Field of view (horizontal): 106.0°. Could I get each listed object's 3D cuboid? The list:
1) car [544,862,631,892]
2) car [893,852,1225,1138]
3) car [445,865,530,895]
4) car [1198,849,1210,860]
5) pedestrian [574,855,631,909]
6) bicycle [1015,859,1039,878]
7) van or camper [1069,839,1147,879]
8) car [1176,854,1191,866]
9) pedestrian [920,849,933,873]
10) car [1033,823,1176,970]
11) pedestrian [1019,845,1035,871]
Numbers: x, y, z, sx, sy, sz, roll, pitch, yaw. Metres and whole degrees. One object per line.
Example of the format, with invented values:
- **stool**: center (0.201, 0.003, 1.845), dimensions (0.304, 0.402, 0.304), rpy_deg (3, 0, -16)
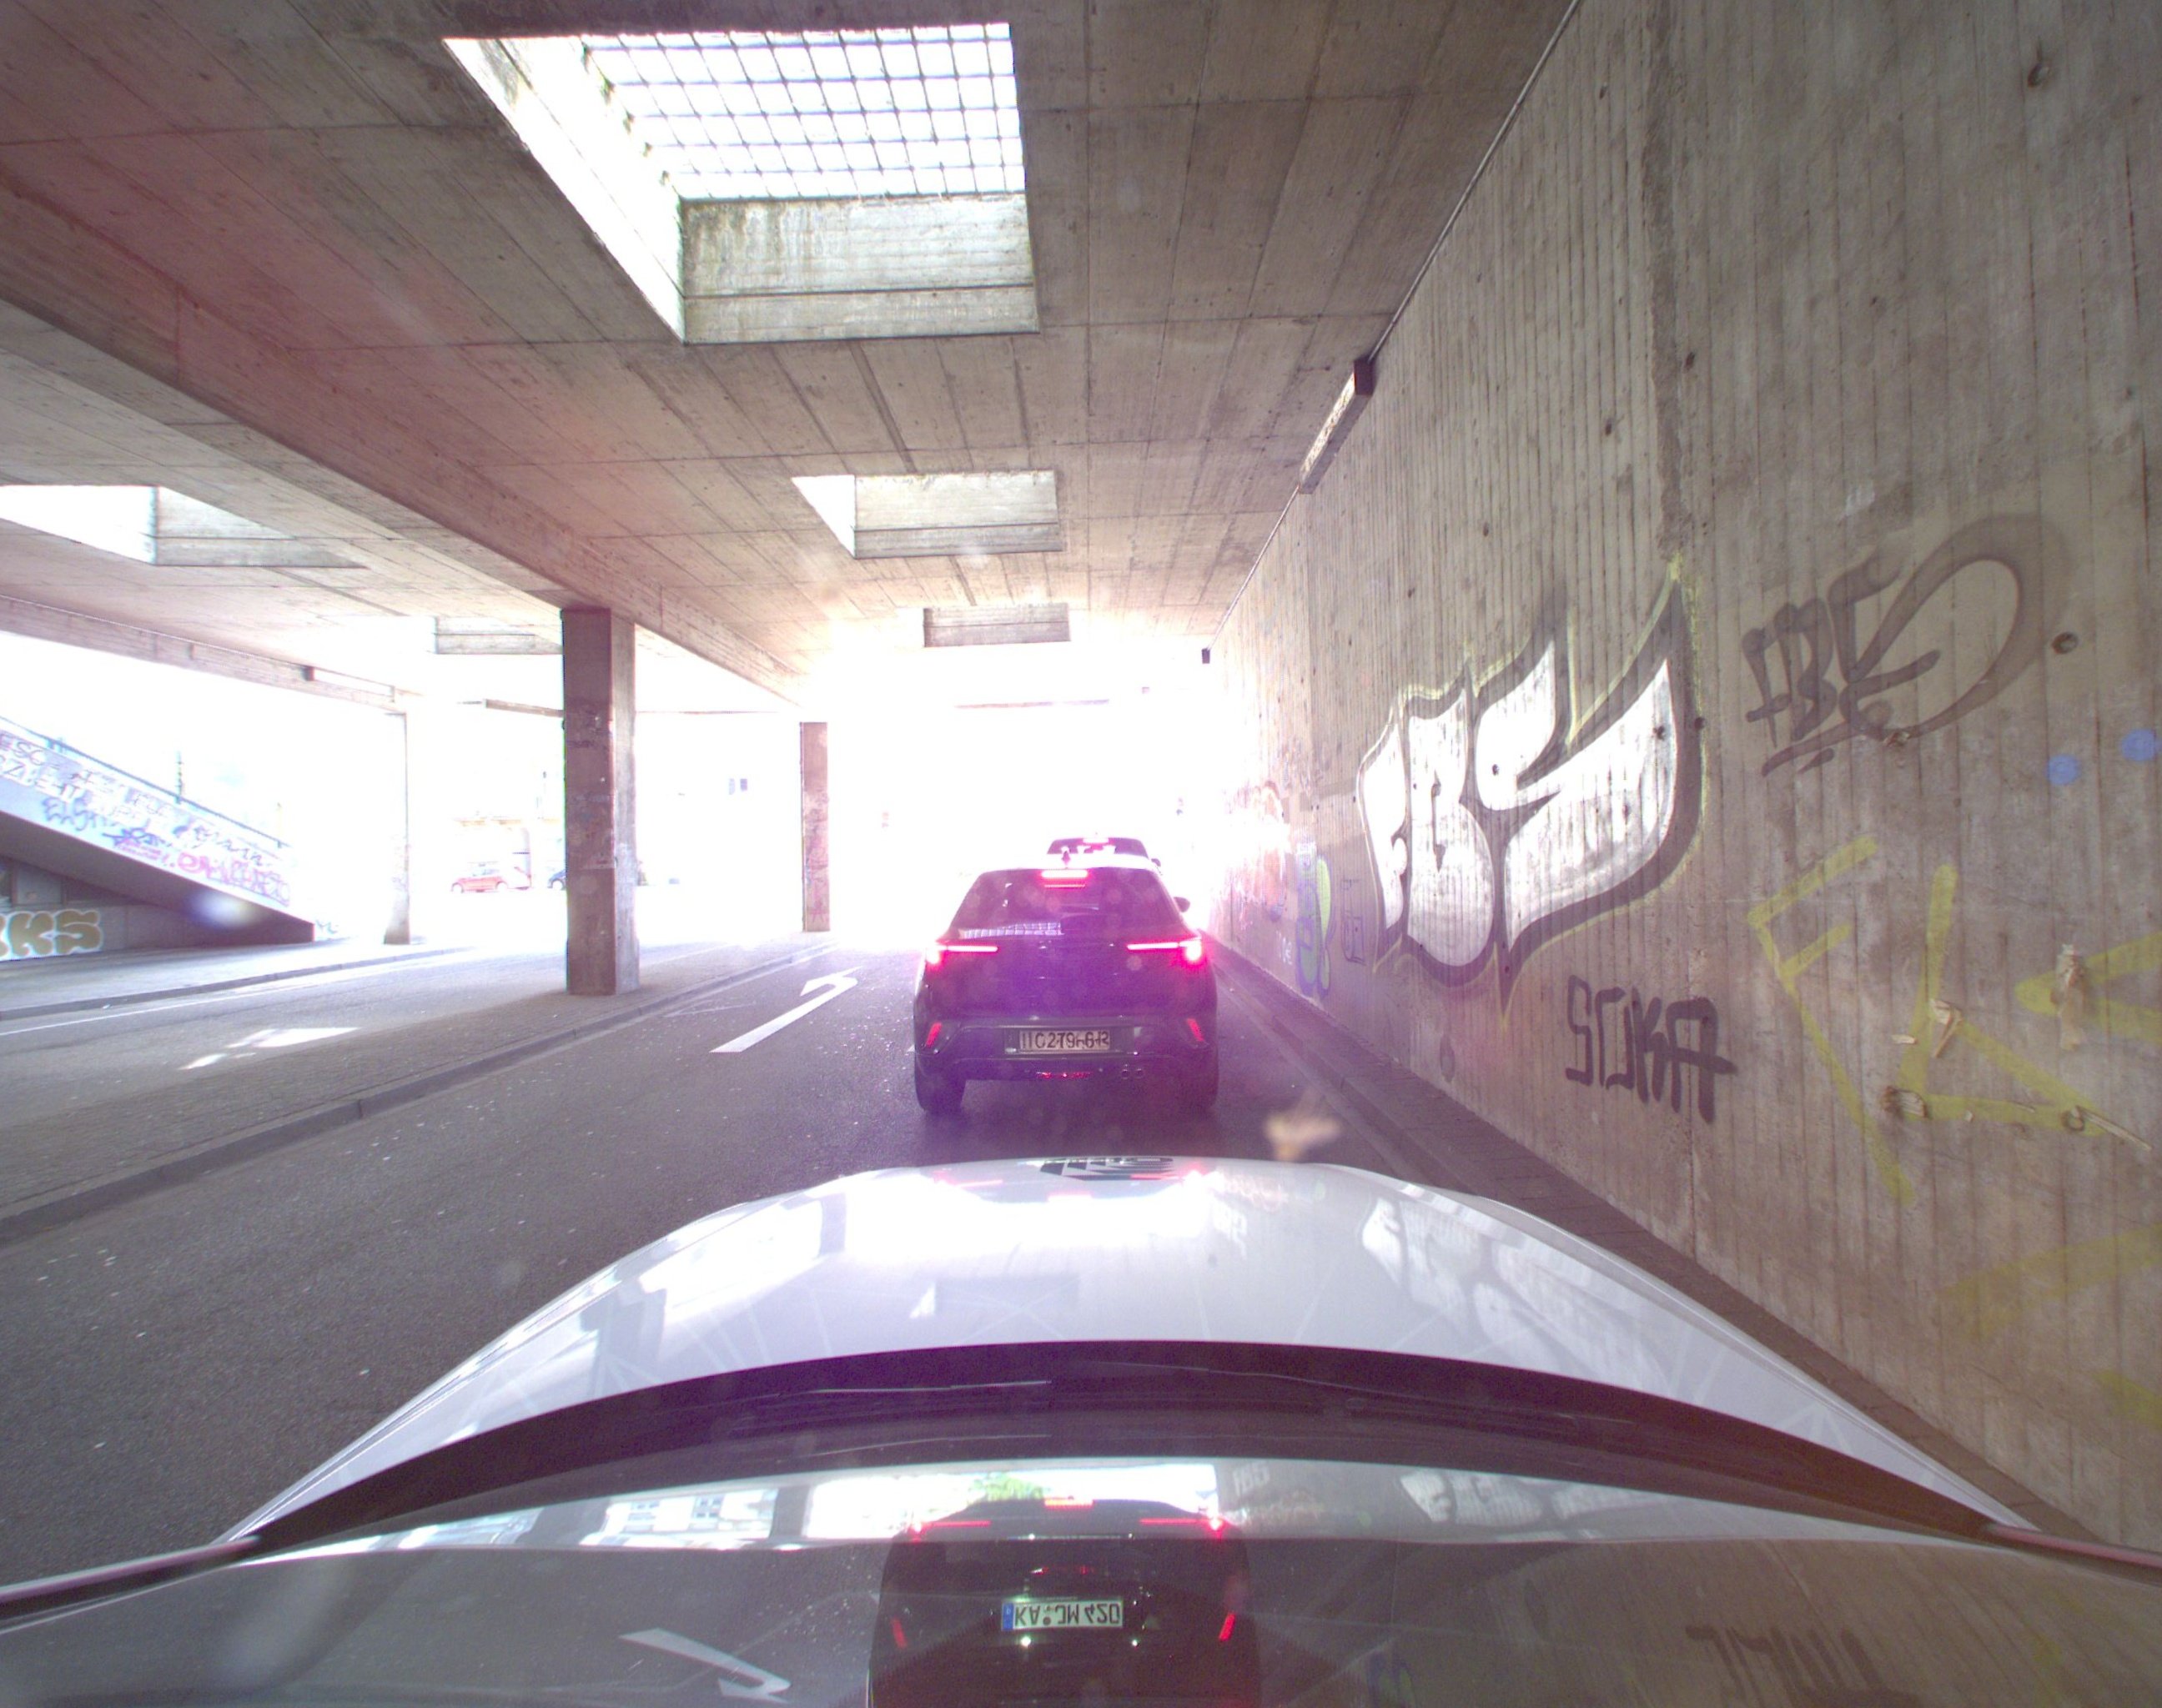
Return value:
- **car**: center (-27.396, 1.267, 45.285), dimensions (3.742, 1.508, 1.752), rpy_deg (-2, 0, 0)
- **car**: center (-0.042, 0.739, 6.288), dimensions (1.746, 1.498, 4.002), rpy_deg (0, 0, 2)
- **car**: center (-32.848, 1.412, 45.138), dimensions (3.519, 1.506, 1.563), rpy_deg (-1, 0, 2)
- **car**: center (18.909, 0.123, 125.277), dimensions (1.573, 1.640, 3.819), rpy_deg (-1, 0, 12)
- **pedestrian**: center (-15.959, 0.927, 27.193), dimensions (1.103, 1.737, 1.146), rpy_deg (-1, 0, 15)
- **bicycle**: center (-3.417, 0.894, 51.573), dimensions (0.730, 1.130, 2.036), rpy_deg (-2, 0, 19)
- **van or camper**: center (1.482, 0.281, 43.569), dimensions (3.854, 2.013, 2.005), rpy_deg (-1, 0, 9)
- **car**: center (13.579, 0.818, 107.712), dimensions (1.587, 1.452, 3.808), rpy_deg (-1, 0, 12)
- **pedestrian**: center (-11.018, 0.494, 58.189), dimensions (0.618, 1.705, 0.726), rpy_deg (0, -1, 15)
- **car**: center (0.361, 0.530, 12.178), dimensions (1.779, 1.833, 3.962), rpy_deg (-1, 0, 2)
- **pedestrian**: center (-3.401, 0.260, 51.661), dimensions (0.729, 1.585, 0.894), rpy_deg (0, -1, 18)
